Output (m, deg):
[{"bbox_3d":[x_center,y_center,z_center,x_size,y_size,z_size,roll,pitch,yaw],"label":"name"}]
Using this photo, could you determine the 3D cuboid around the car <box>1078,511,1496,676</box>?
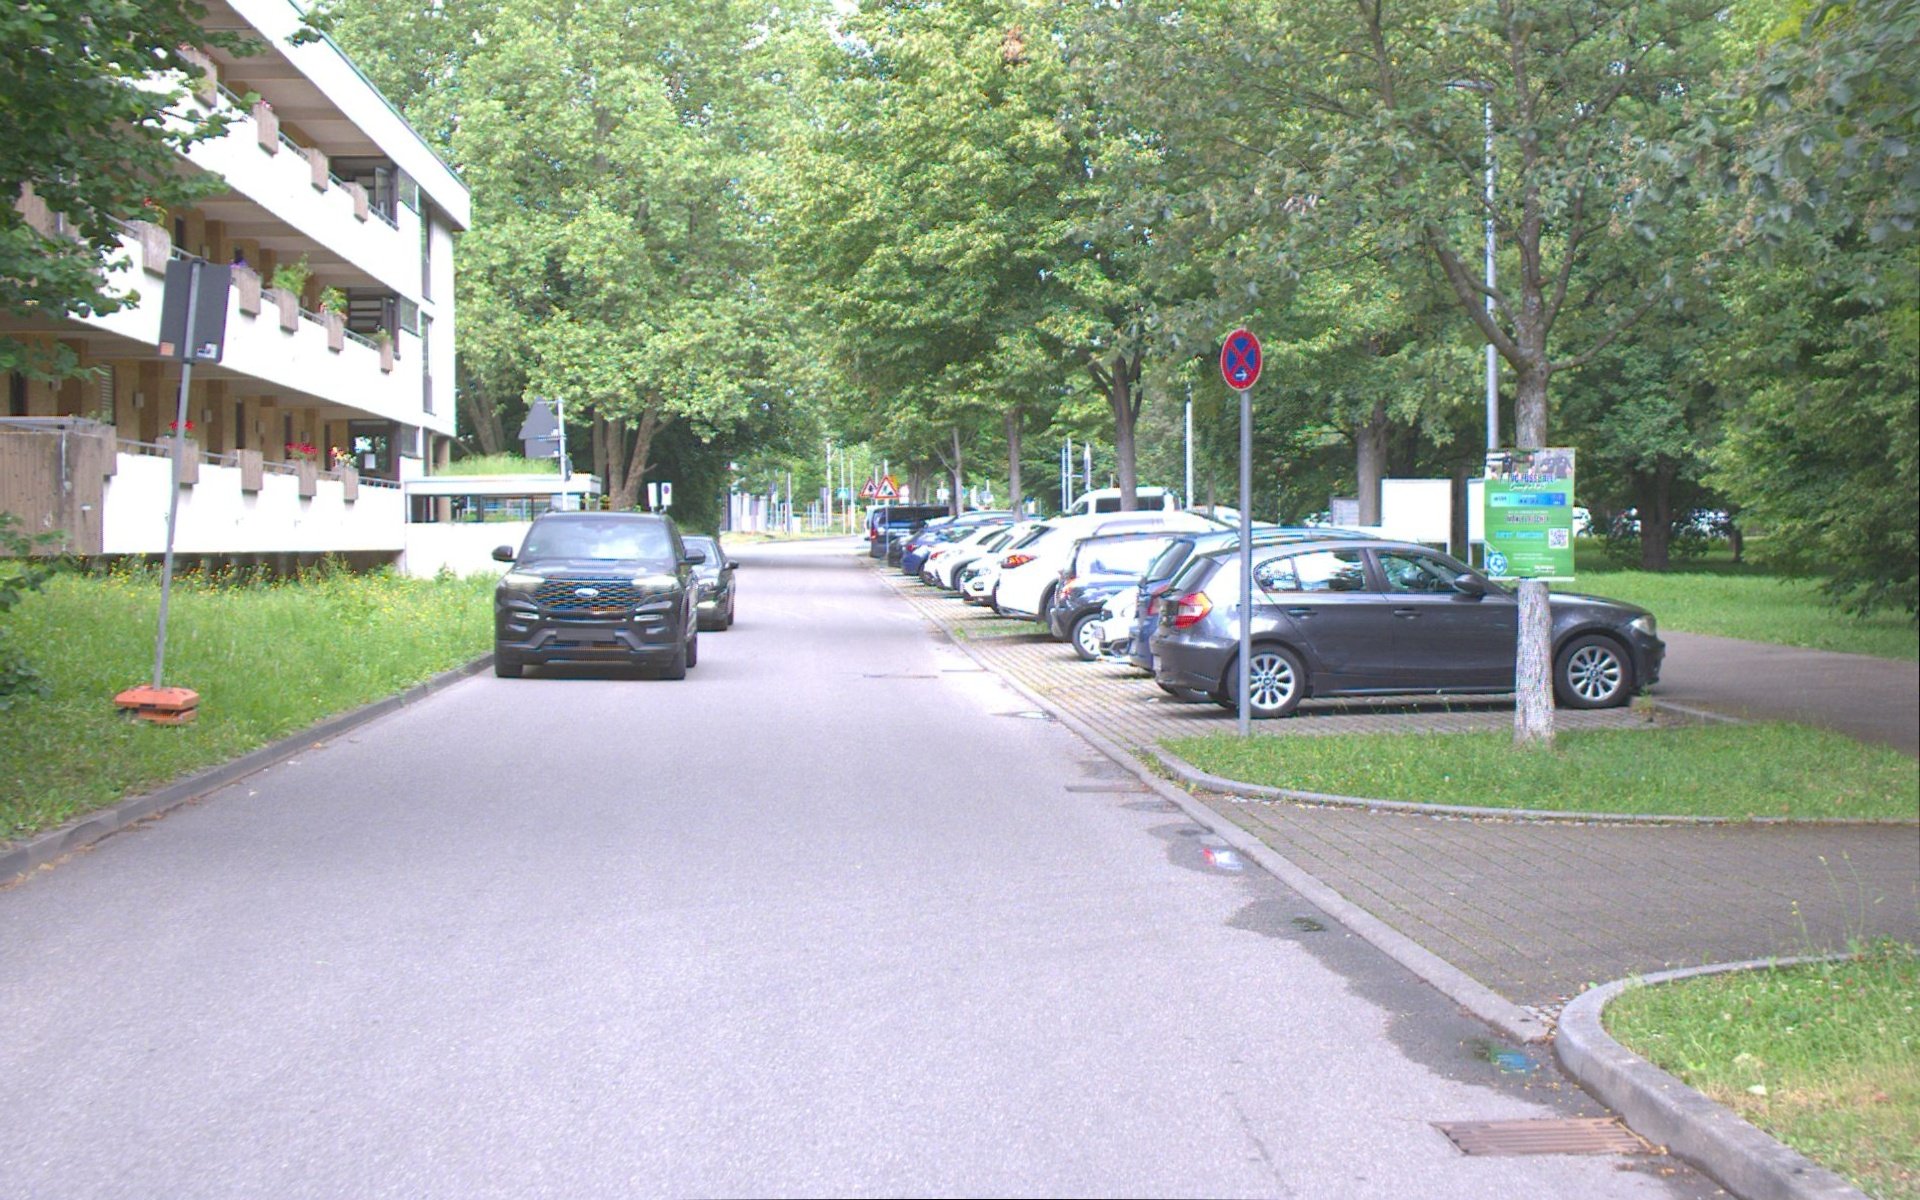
[{"bbox_3d":[3.351,-0.093,35.757,4.062,1.563,1.823,-2,1,-3],"label":"car"}]

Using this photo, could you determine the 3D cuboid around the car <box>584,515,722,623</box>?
[{"bbox_3d":[-4.622,-0.498,52.273,1.968,1.570,4.339,0,1,-4],"label":"car"}]

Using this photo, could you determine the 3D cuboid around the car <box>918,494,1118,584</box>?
[{"bbox_3d":[1.247,-1.326,74.900,4.062,1.681,1.823,-4,2,-6],"label":"car"}]

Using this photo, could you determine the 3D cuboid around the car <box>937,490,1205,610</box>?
[{"bbox_3d":[1.790,-0.831,56.210,4.062,1.681,1.823,-4,2,-6],"label":"car"}]

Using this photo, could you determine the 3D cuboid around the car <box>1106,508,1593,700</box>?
[{"bbox_3d":[3.448,0.037,30.942,4.062,1.563,1.822,-2,0,-3],"label":"car"}]

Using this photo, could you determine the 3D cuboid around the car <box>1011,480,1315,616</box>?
[{"bbox_3d":[2.915,-0.760,49.841,4.062,1.681,1.823,-4,2,-6],"label":"car"}]

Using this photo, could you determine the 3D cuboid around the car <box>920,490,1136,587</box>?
[{"bbox_3d":[1.353,-1.255,69.460,4.062,1.681,1.823,-4,2,-6],"label":"car"}]

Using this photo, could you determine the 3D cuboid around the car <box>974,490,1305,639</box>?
[{"bbox_3d":[2.350,-0.491,45.712,4.062,1.681,1.823,-4,2,-6],"label":"car"}]

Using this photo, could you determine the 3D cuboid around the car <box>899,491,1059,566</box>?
[{"bbox_3d":[0.504,-1.937,93.402,4.062,1.764,1.823,-4,2,-6],"label":"car"}]

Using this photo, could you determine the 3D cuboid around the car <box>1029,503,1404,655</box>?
[{"bbox_3d":[2.977,-0.267,40.461,4.062,1.483,1.823,-4,2,-6],"label":"car"}]

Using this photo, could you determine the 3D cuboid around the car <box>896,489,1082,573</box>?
[{"bbox_3d":[0.655,-1.607,80.311,4.062,1.681,1.823,-4,2,-6],"label":"car"}]

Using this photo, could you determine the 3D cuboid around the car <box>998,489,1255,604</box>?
[{"bbox_3d":[2.823,-0.931,58.803,4.062,1.681,1.823,-4,2,-6],"label":"car"}]

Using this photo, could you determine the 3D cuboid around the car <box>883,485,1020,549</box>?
[{"bbox_3d":[-0.277,-2.626,108.645,4.062,1.764,1.823,-4,2,-6],"label":"car"}]

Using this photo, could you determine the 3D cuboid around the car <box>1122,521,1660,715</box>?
[{"bbox_3d":[3.477,0.143,28.290,4.062,1.429,2.000,-2,0,-3],"label":"car"}]

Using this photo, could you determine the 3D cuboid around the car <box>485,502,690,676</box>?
[{"bbox_3d":[-3.896,-0.157,36.597,1.968,1.741,4.339,0,1,-4],"label":"car"}]
